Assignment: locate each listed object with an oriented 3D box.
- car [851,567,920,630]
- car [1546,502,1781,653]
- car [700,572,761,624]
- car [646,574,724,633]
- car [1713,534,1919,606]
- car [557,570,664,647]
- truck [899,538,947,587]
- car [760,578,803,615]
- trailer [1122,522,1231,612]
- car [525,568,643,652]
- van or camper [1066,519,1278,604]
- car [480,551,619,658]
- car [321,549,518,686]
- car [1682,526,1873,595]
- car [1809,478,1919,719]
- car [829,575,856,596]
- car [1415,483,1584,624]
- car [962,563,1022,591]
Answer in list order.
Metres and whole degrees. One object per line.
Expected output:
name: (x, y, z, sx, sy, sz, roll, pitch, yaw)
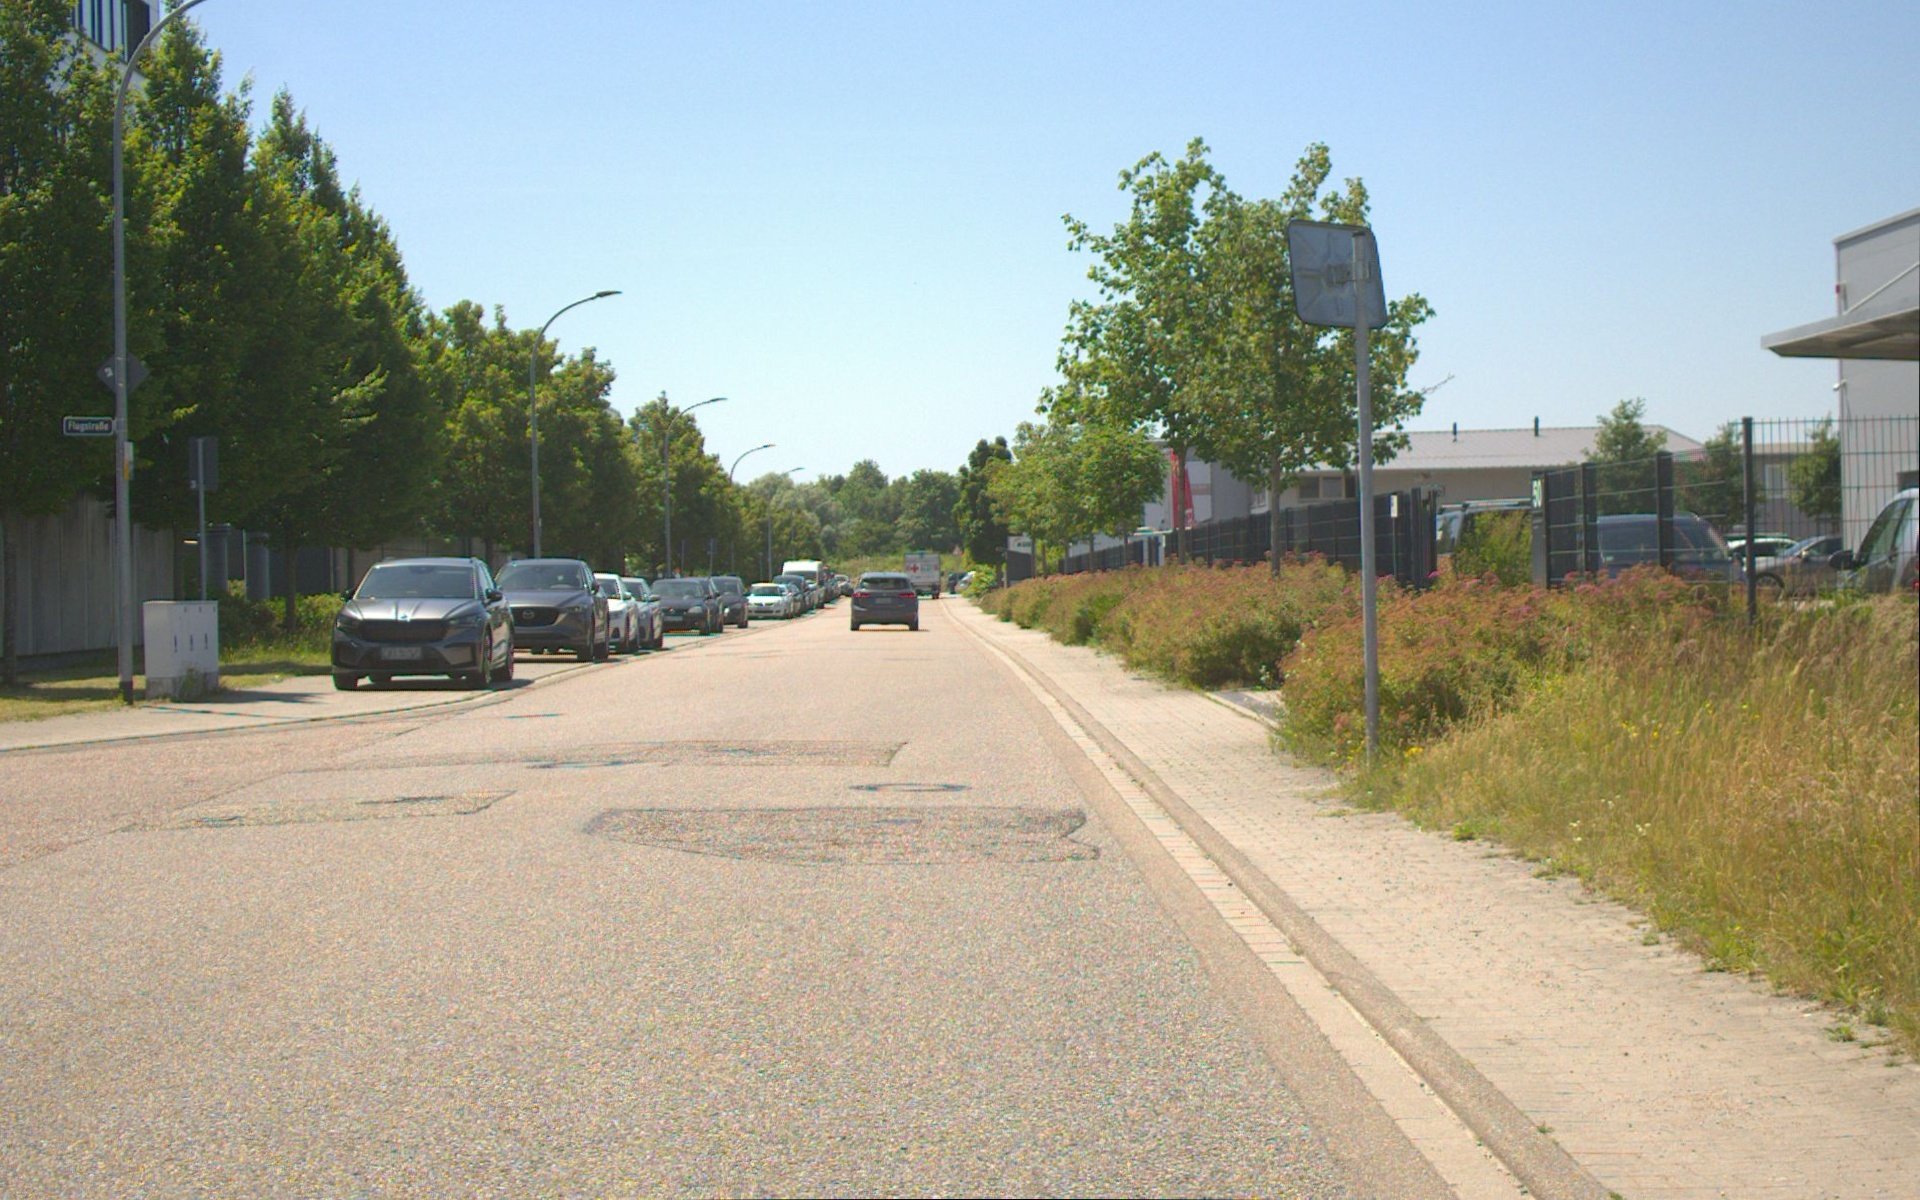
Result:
car: (-2.002, -0.043, 92.596, 1.789, 1.618, 3.809, 1, 0, -1)
car: (7.849, -0.292, 38.633, 1.809, 1.547, 3.577, -3, 2, -1)
car: (-7.256, -0.066, 108.849, 1.770, 1.606, 4.248, -1, 0, -2)
car: (-7.203, 0.081, 90.408, 1.771, 1.426, 4.201, 0, 1, -1)
car: (18.591, -0.639, 74.749, 3.987, 1.398, 1.819, -2, 0, -1)
car: (-6.914, 0.141, 68.238, 1.771, 1.426, 3.940, 0, 1, -1)
truck: (-2.279, -2.314, 213.395, 2.933, 2.964, 6.419, 1, 0, 0)
car: (-7.315, -0.162, 140.974, 1.720, 1.471, 3.858, -1, 0, -3)
trailer: (6.125, -0.932, 97.447, 2.822, 2.395, 1.420, -3, 0, -4)
car: (-6.904, 0.156, 63.488, 1.771, 1.426, 4.201, 0, 1, -1)
van or camper: (6.975, -1.257, 113.832, 6.757, 2.576, 2.636, -2, 0, -1)
car: (-6.628, 0.037, 55.889, 1.771, 1.618, 4.583, 0, 1, -1)
car: (-6.661, 0.204, 42.787, 1.771, 1.582, 4.481, -1, 0, -1)
car: (18.396, -0.887, 77.501, 3.873, 1.398, 1.767, -2, 0, 2)
car: (6.953, -0.034, 23.690, 1.466, 1.568, 2.662, -2, 0, -1)
car: (-8.846, -1.113, 259.758, 1.799, 1.482, 4.252, -1, 1, 1)
car: (8.525, -0.726, 54.653, 1.876, 2.079, 4.226, -3, 0, -1)
car: (2.151, -1.523, 228.694, 3.875, 1.744, 1.752, 1, 0, -3)
